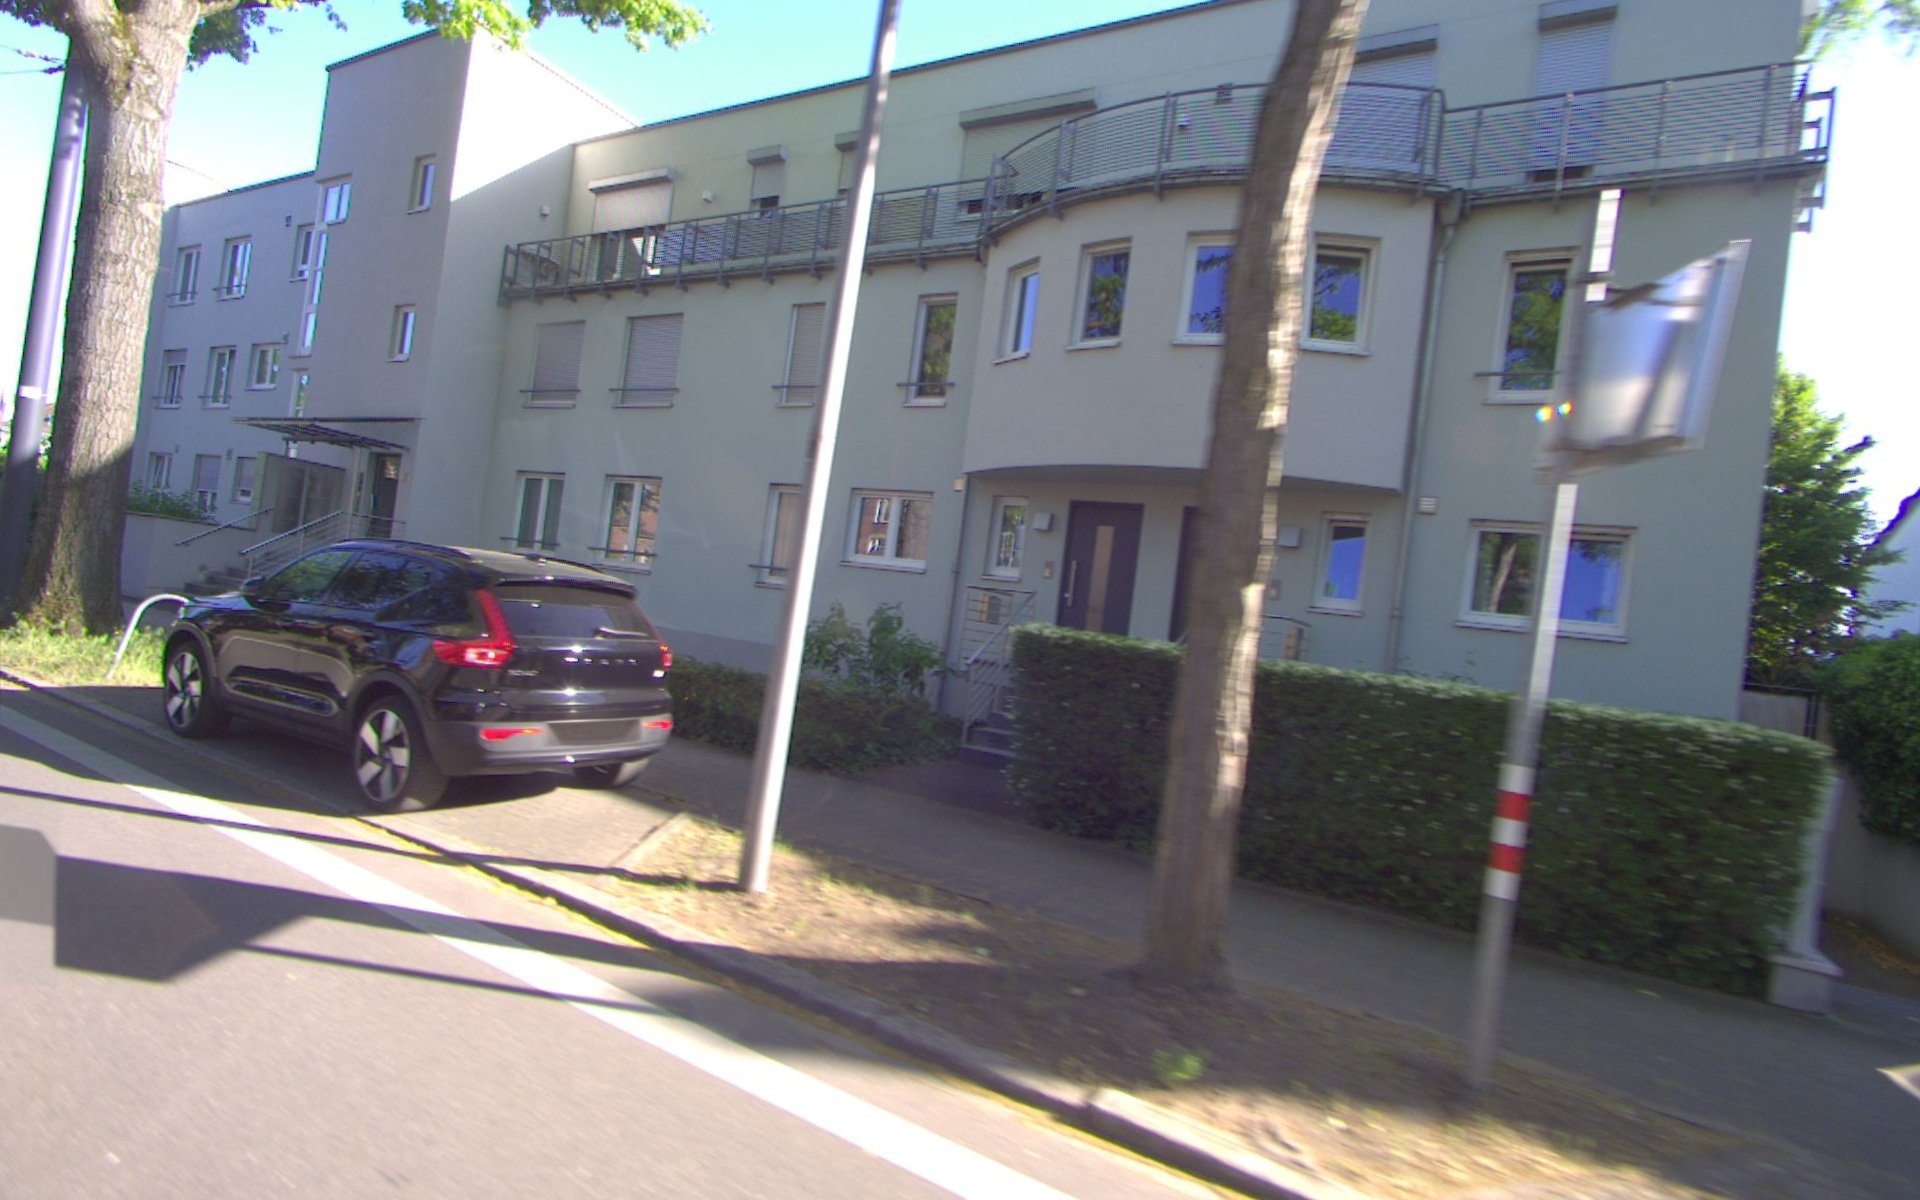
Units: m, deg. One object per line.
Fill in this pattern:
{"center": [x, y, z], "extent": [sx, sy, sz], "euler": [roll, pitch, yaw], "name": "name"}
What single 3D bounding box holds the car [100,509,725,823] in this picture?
{"center": [-4.213, 0.357, 7.574], "extent": [4.570, 1.536, 1.880], "euler": [6, -2, 30], "name": "car"}
